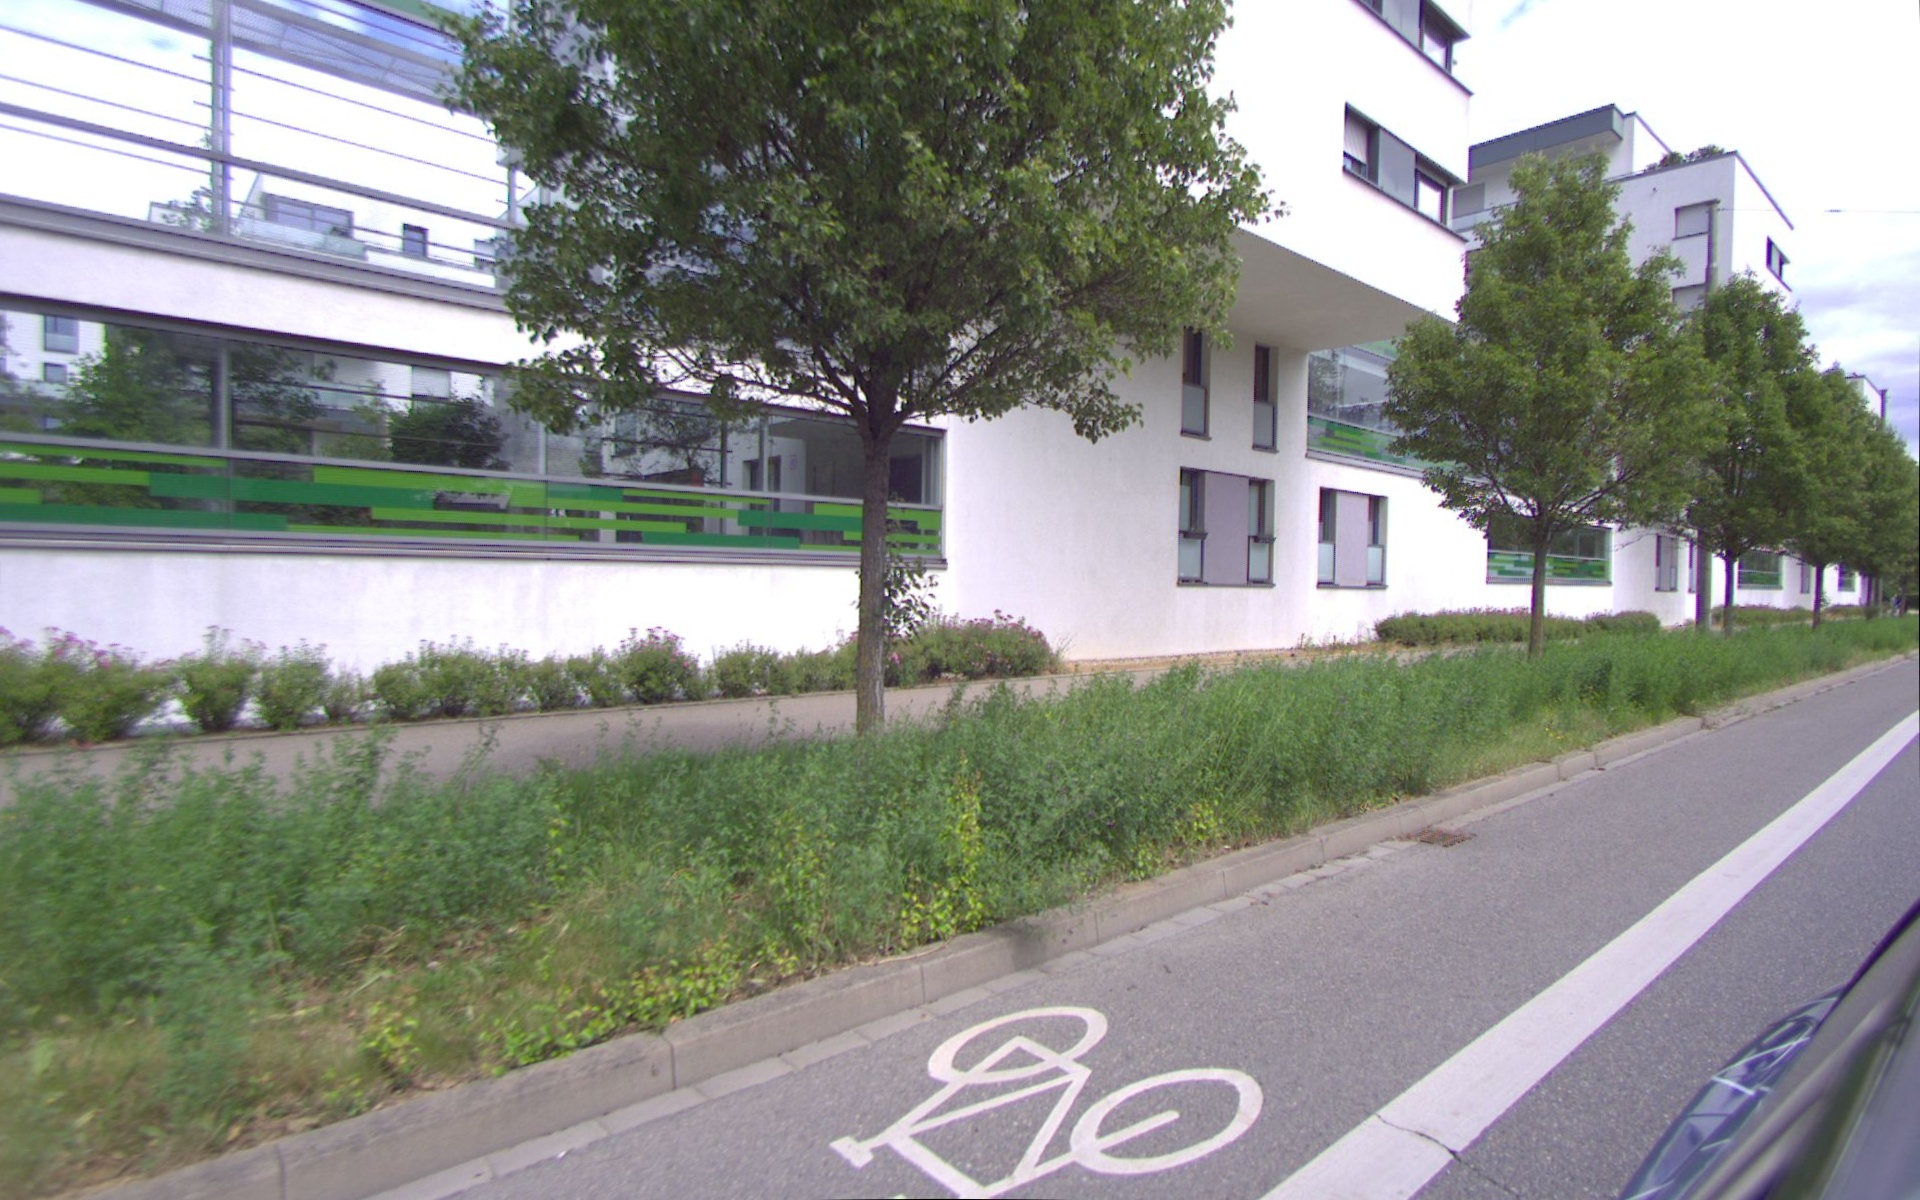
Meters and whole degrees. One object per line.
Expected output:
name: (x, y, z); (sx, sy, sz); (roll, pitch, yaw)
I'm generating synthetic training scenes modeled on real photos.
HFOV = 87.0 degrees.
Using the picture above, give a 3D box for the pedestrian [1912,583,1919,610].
pedestrian: (70.565, -0.258, 74.407); (0.690, 1.910, 0.740); (-1, -1, -45)
